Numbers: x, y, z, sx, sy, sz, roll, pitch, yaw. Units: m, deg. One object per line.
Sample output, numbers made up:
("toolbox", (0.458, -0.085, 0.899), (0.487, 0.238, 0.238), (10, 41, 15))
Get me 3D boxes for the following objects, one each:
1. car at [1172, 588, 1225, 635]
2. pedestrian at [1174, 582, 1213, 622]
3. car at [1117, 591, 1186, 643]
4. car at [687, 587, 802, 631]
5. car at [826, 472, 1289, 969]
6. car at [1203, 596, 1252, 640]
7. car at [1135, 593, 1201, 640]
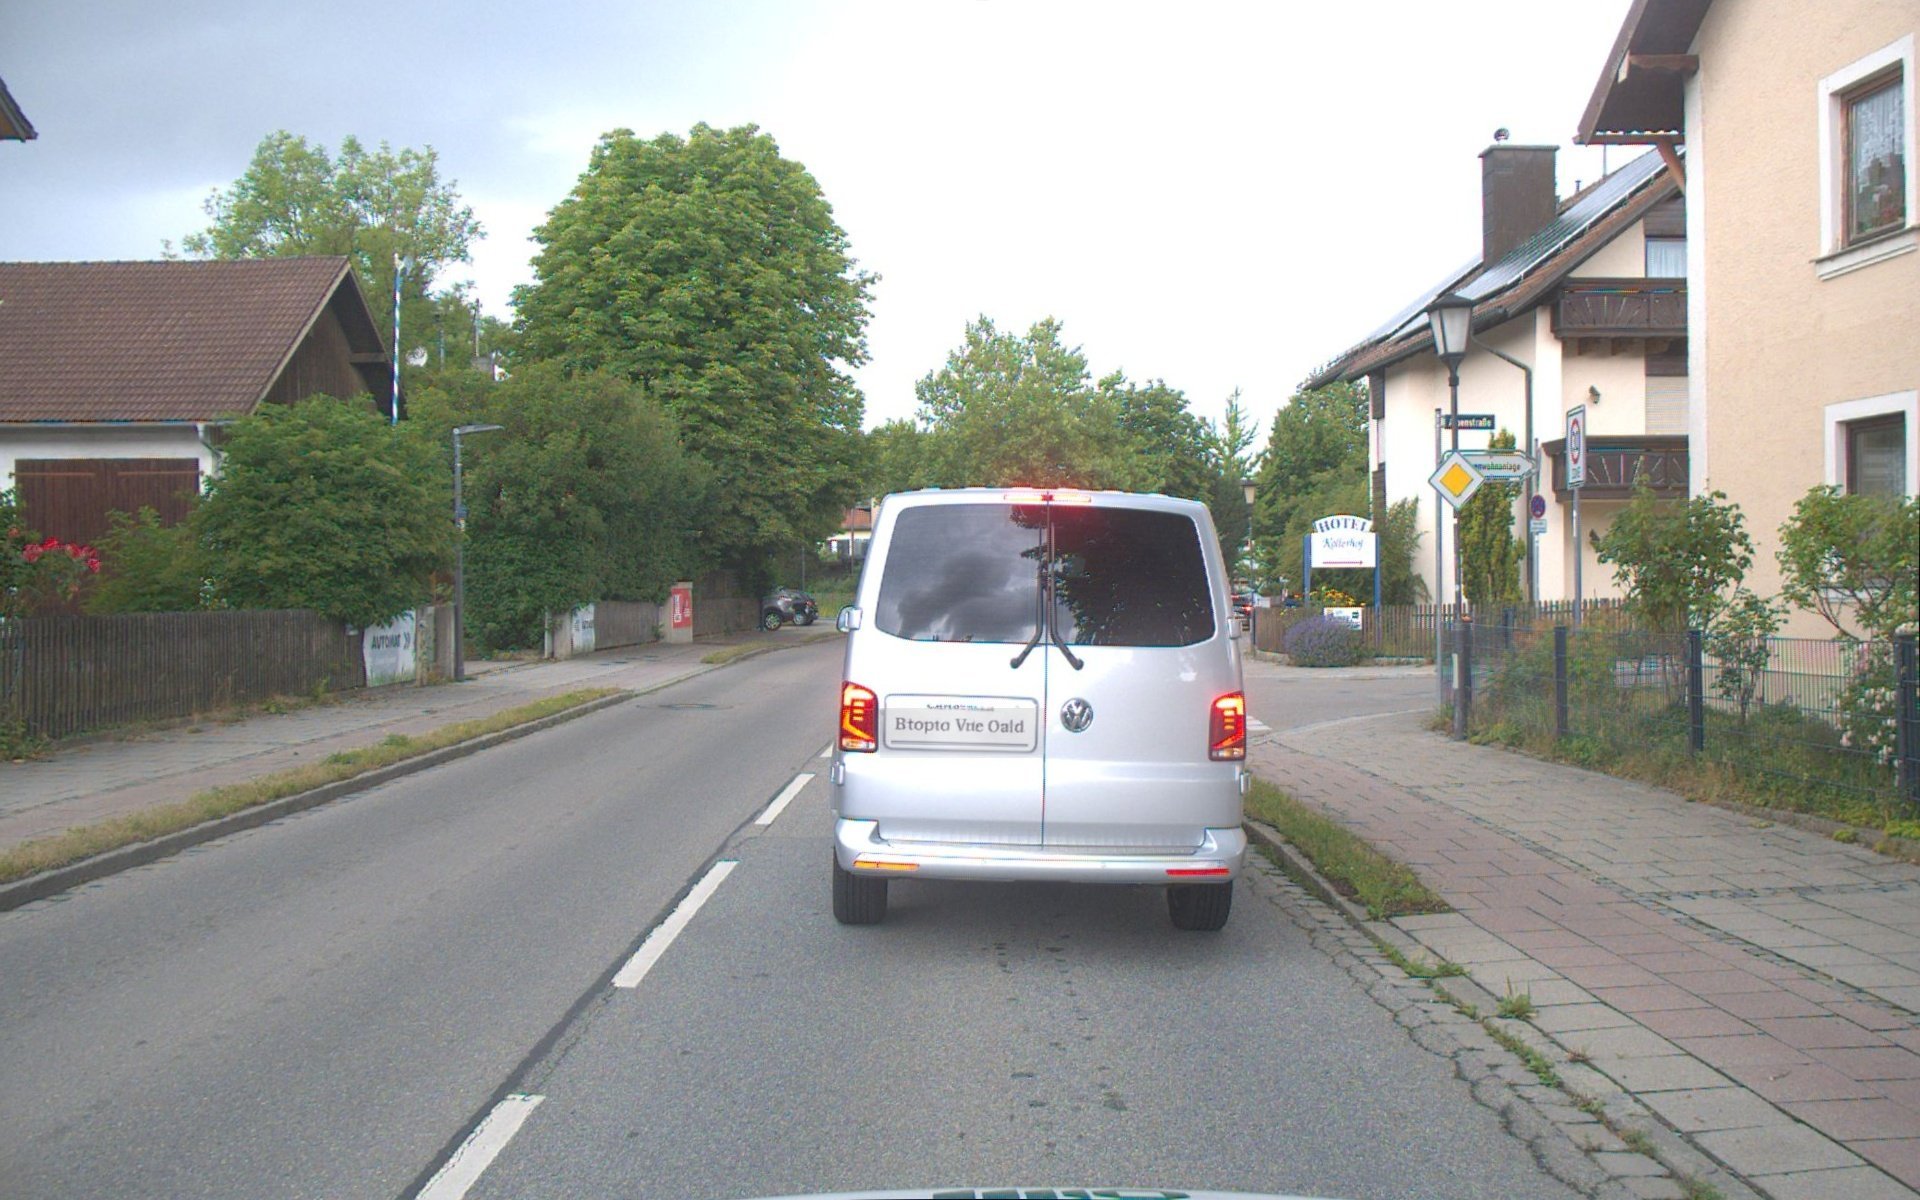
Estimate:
("car", (9.440, 0.431, 65.318), (1.841, 1.779, 4.084), (-1, 0, 11))
("pedestrian", (12.065, 0.084, 85.411), (1.350, 2.049, 1.499), (0, 0, -40))
("car", (6.032, 0.511, 51.724), (1.841, 1.562, 3.924), (0, 0, 11))
("car", (-7.562, 0.296, 58.029), (3.913, 1.512, 1.996), (0, 0, -9))
("car", (0.387, 0.472, 8.569), (1.843, 1.974, 3.920), (0, 0, 0))
("car", (11.676, 0.763, 72.063), (1.841, 1.857, 3.924), (0, 0, 13))
("car", (7.160, 0.540, 56.632), (1.841, 1.562, 3.924), (0, 0, 13))
